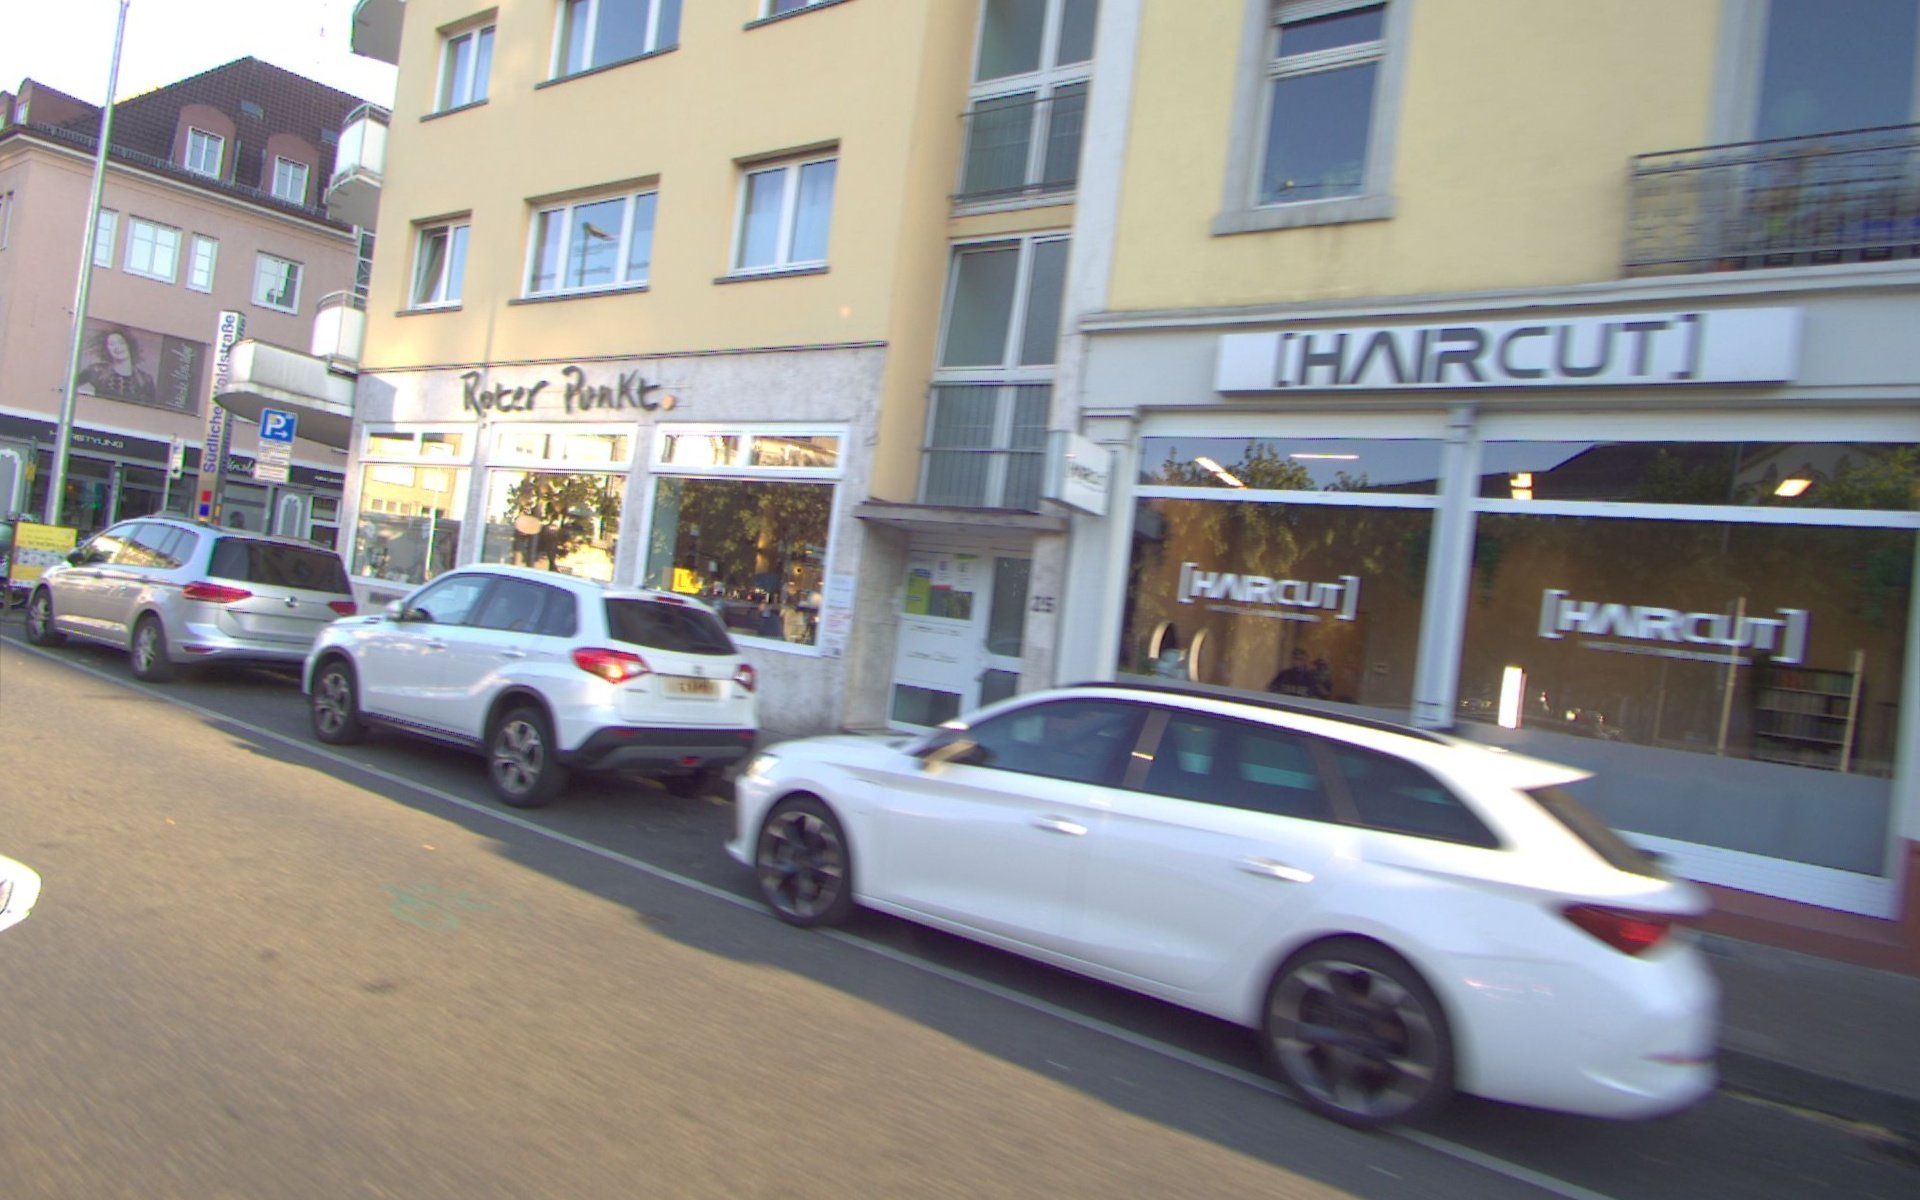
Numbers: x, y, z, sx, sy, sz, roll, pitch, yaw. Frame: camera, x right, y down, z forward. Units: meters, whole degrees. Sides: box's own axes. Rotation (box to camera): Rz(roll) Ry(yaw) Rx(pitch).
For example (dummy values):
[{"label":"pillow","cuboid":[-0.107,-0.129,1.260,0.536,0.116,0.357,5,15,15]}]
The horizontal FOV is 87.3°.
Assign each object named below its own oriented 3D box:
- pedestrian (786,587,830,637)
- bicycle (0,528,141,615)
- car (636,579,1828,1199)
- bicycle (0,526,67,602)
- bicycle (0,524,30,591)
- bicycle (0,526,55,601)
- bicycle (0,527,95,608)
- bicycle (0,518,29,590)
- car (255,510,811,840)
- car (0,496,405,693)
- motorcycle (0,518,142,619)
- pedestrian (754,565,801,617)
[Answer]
[{"label":"pedestrian","cuboid":[-5.913,0.469,39.180,1.148,1.783,1.133,8,-1,-33]},{"label":"bicycle","cuboid":[-13.673,-0.427,15.166,0.583,1.126,1.888,7,-1,29]},{"label":"car","cuboid":[0.878,1.039,5.002,4.789,1.561,2.019,8,-1,33]},{"label":"bicycle","cuboid":[-15.471,-0.640,15.888,0.512,1.125,1.889,7,-2,29]},{"label":"bicycle","cuboid":[-17.322,-0.846,17.181,0.749,1.125,1.889,7,-2,28]},{"label":"bicycle","cuboid":[-15.931,-0.676,16.153,0.591,1.125,1.889,7,-2,29]},{"label":"bicycle","cuboid":[-14.726,-0.548,15.545,0.583,1.125,1.889,5,-3,29]},{"label":"bicycle","cuboid":[-16.762,-0.870,16.563,0.711,1.181,1.888,7,-1,28]},{"label":"car","cuboid":[-3.597,0.461,8.241,4.335,1.783,1.871,8,-1,32]},{"label":"car","cuboid":[-8.733,-0.098,11.448,4.723,1.631,1.998,6,-2,31]},{"label":"motorcycle","cuboid":[-13.077,-0.452,14.464,0.704,1.278,1.815,7,-1,29]},{"label":"pedestrian","cuboid":[-6.829,-0.352,37.683,1.180,1.783,1.133,8,-1,-33]}]
